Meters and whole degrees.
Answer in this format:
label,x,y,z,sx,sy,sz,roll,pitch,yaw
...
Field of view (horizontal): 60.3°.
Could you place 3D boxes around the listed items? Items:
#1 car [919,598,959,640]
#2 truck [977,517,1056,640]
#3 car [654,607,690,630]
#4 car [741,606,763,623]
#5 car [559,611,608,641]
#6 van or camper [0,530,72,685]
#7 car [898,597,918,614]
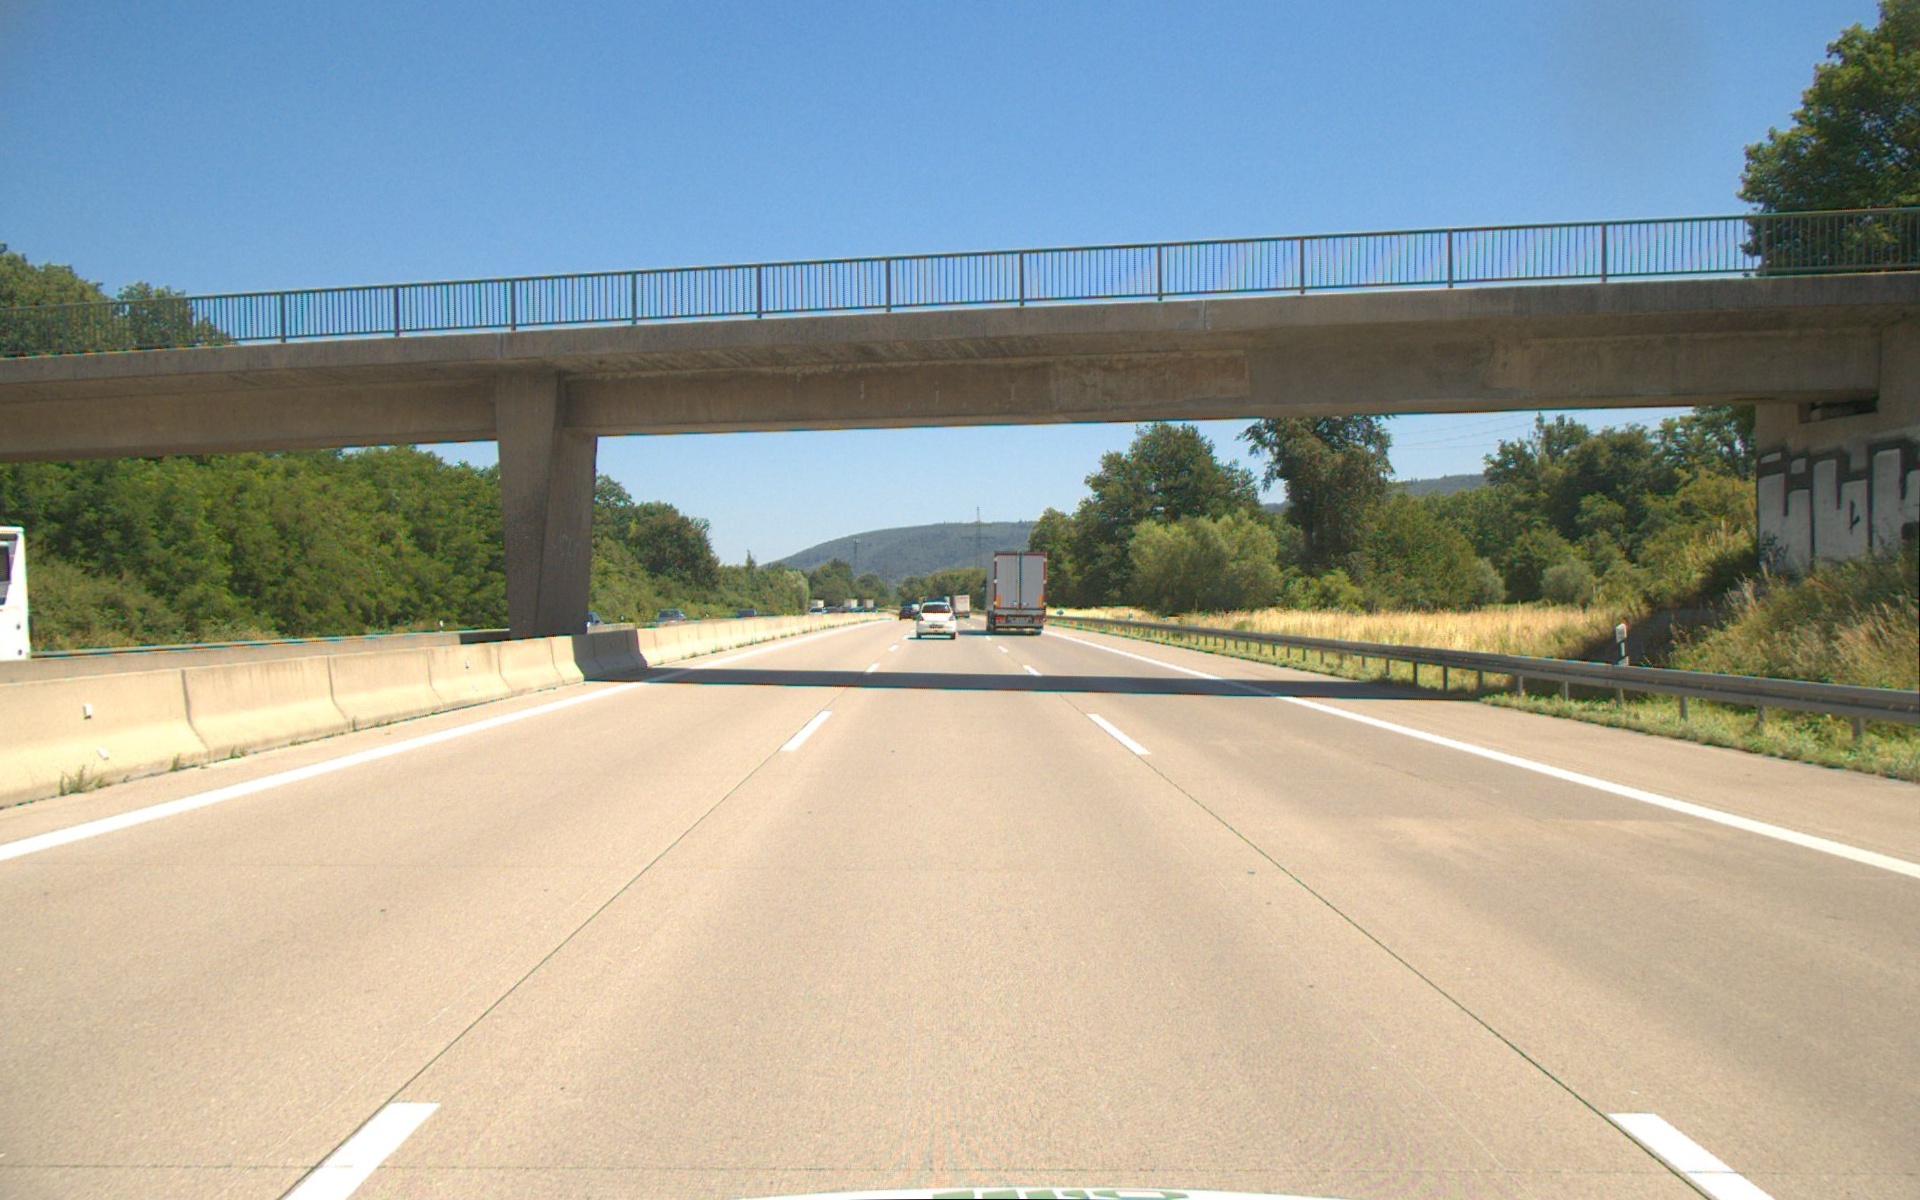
label,x,y,z,sx,sy,sz,roll,pitch,yaw
car,-0.894,0.794,70.041,1.608,1.691,3.359,1,0,-1
truck,2.775,-1.028,87.979,3.504,5.889,18.245,0,0,0
car,-18.153,1.153,104.404,1.533,1.342,4.371,-1,0,-1
car,-17.884,1.244,142.180,1.533,1.342,3.631,-1,0,-2
car,-17.676,1.190,77.766,1.533,1.342,3.631,-1,0,-1
van or camper,-16.421,0.103,24.691,2.203,2.486,7.800,1,0,-1
car,-5.593,0.567,177.895,1.982,1.730,3.997,2,0,-3
